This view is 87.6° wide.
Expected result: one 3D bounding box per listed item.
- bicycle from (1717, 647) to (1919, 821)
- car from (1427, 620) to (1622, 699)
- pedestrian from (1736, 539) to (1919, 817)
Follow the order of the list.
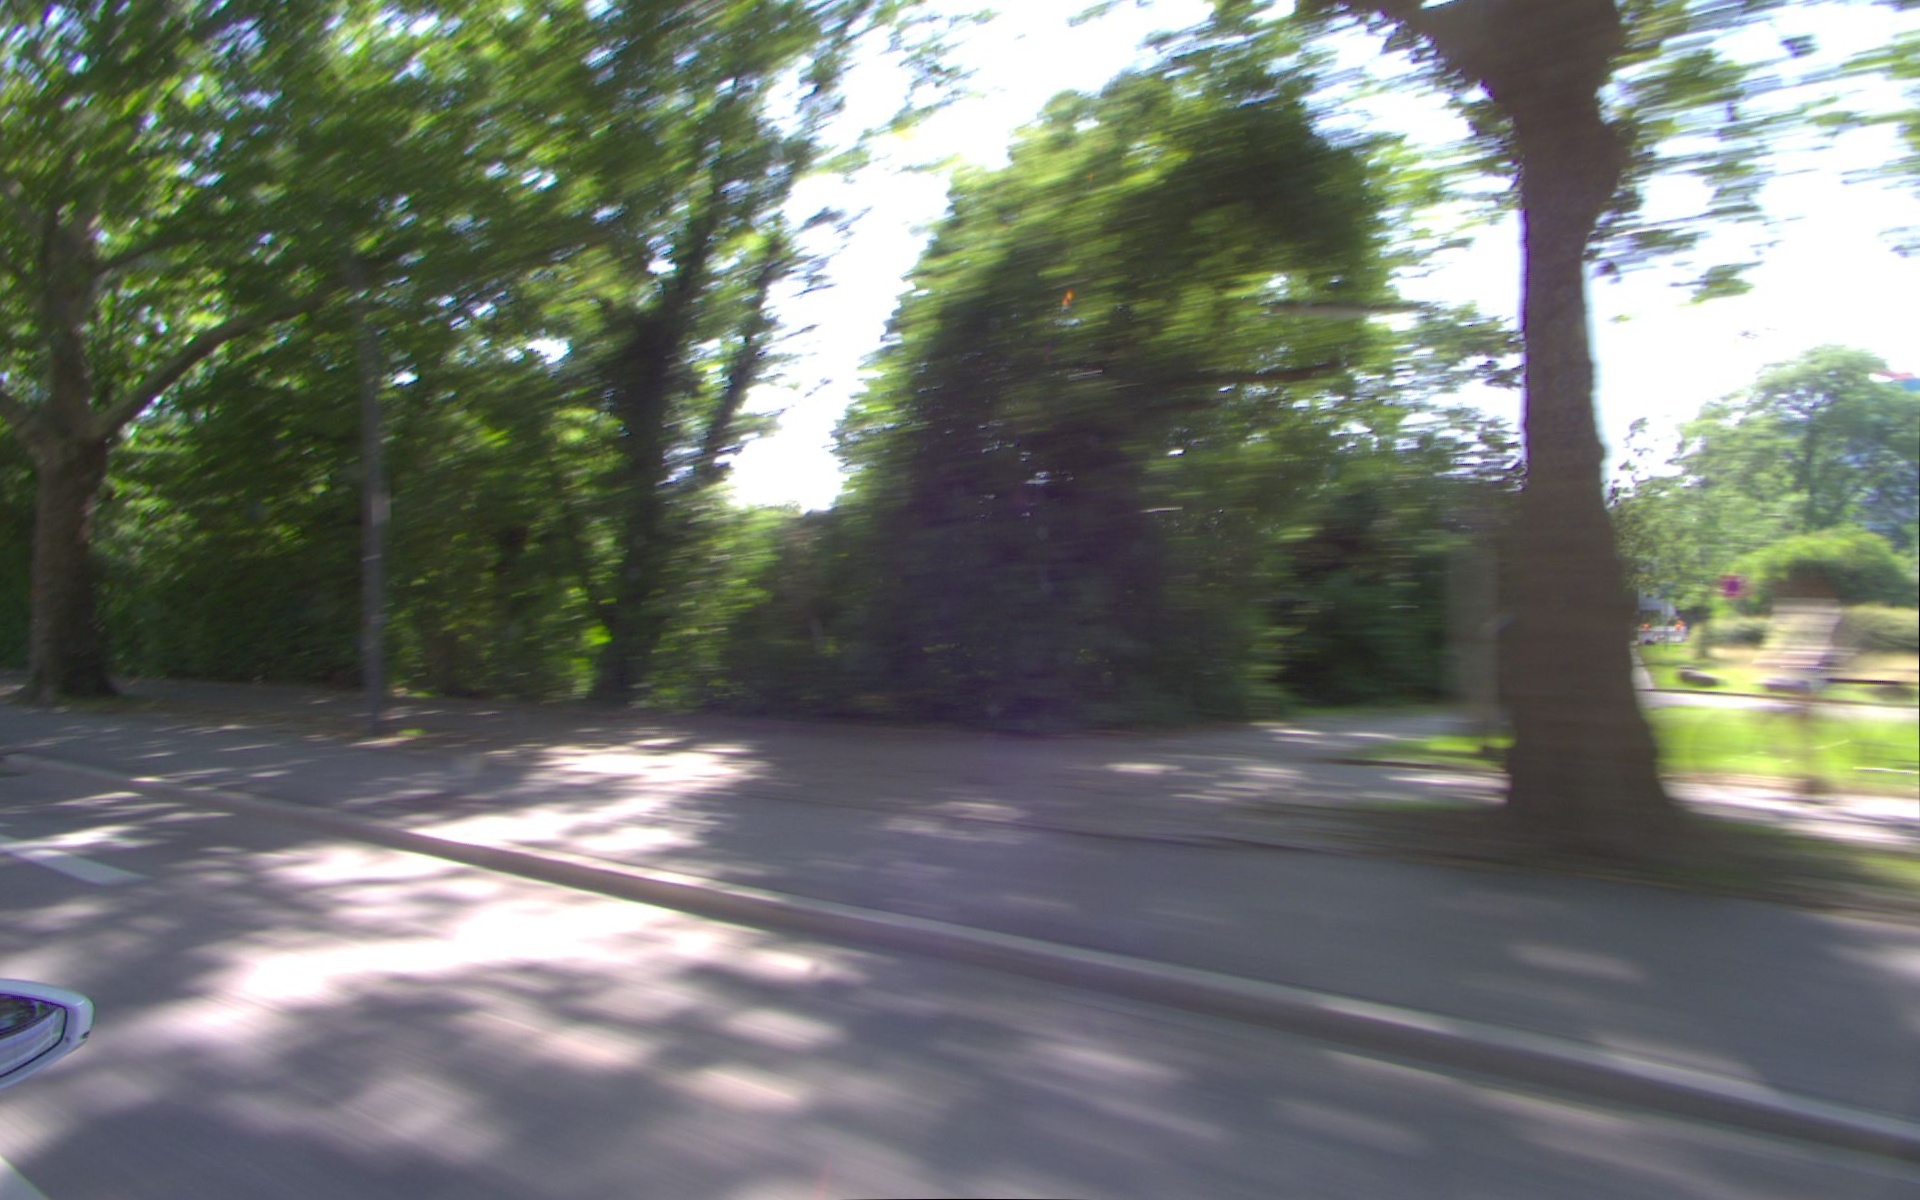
[{"bbox_3d":[6.078,0.869,6.624,1.675,1.095,0.349,-1,-1,32],"label":"bicycle"},{"bbox_3d":[11.414,1.160,20.571,1.651,1.473,4.001,0,-2,-2],"label":"car"},{"bbox_3d":[6.036,0.519,7.017,0.862,1.808,0.631,-1,-1,32],"label":"pedestrian"}]
